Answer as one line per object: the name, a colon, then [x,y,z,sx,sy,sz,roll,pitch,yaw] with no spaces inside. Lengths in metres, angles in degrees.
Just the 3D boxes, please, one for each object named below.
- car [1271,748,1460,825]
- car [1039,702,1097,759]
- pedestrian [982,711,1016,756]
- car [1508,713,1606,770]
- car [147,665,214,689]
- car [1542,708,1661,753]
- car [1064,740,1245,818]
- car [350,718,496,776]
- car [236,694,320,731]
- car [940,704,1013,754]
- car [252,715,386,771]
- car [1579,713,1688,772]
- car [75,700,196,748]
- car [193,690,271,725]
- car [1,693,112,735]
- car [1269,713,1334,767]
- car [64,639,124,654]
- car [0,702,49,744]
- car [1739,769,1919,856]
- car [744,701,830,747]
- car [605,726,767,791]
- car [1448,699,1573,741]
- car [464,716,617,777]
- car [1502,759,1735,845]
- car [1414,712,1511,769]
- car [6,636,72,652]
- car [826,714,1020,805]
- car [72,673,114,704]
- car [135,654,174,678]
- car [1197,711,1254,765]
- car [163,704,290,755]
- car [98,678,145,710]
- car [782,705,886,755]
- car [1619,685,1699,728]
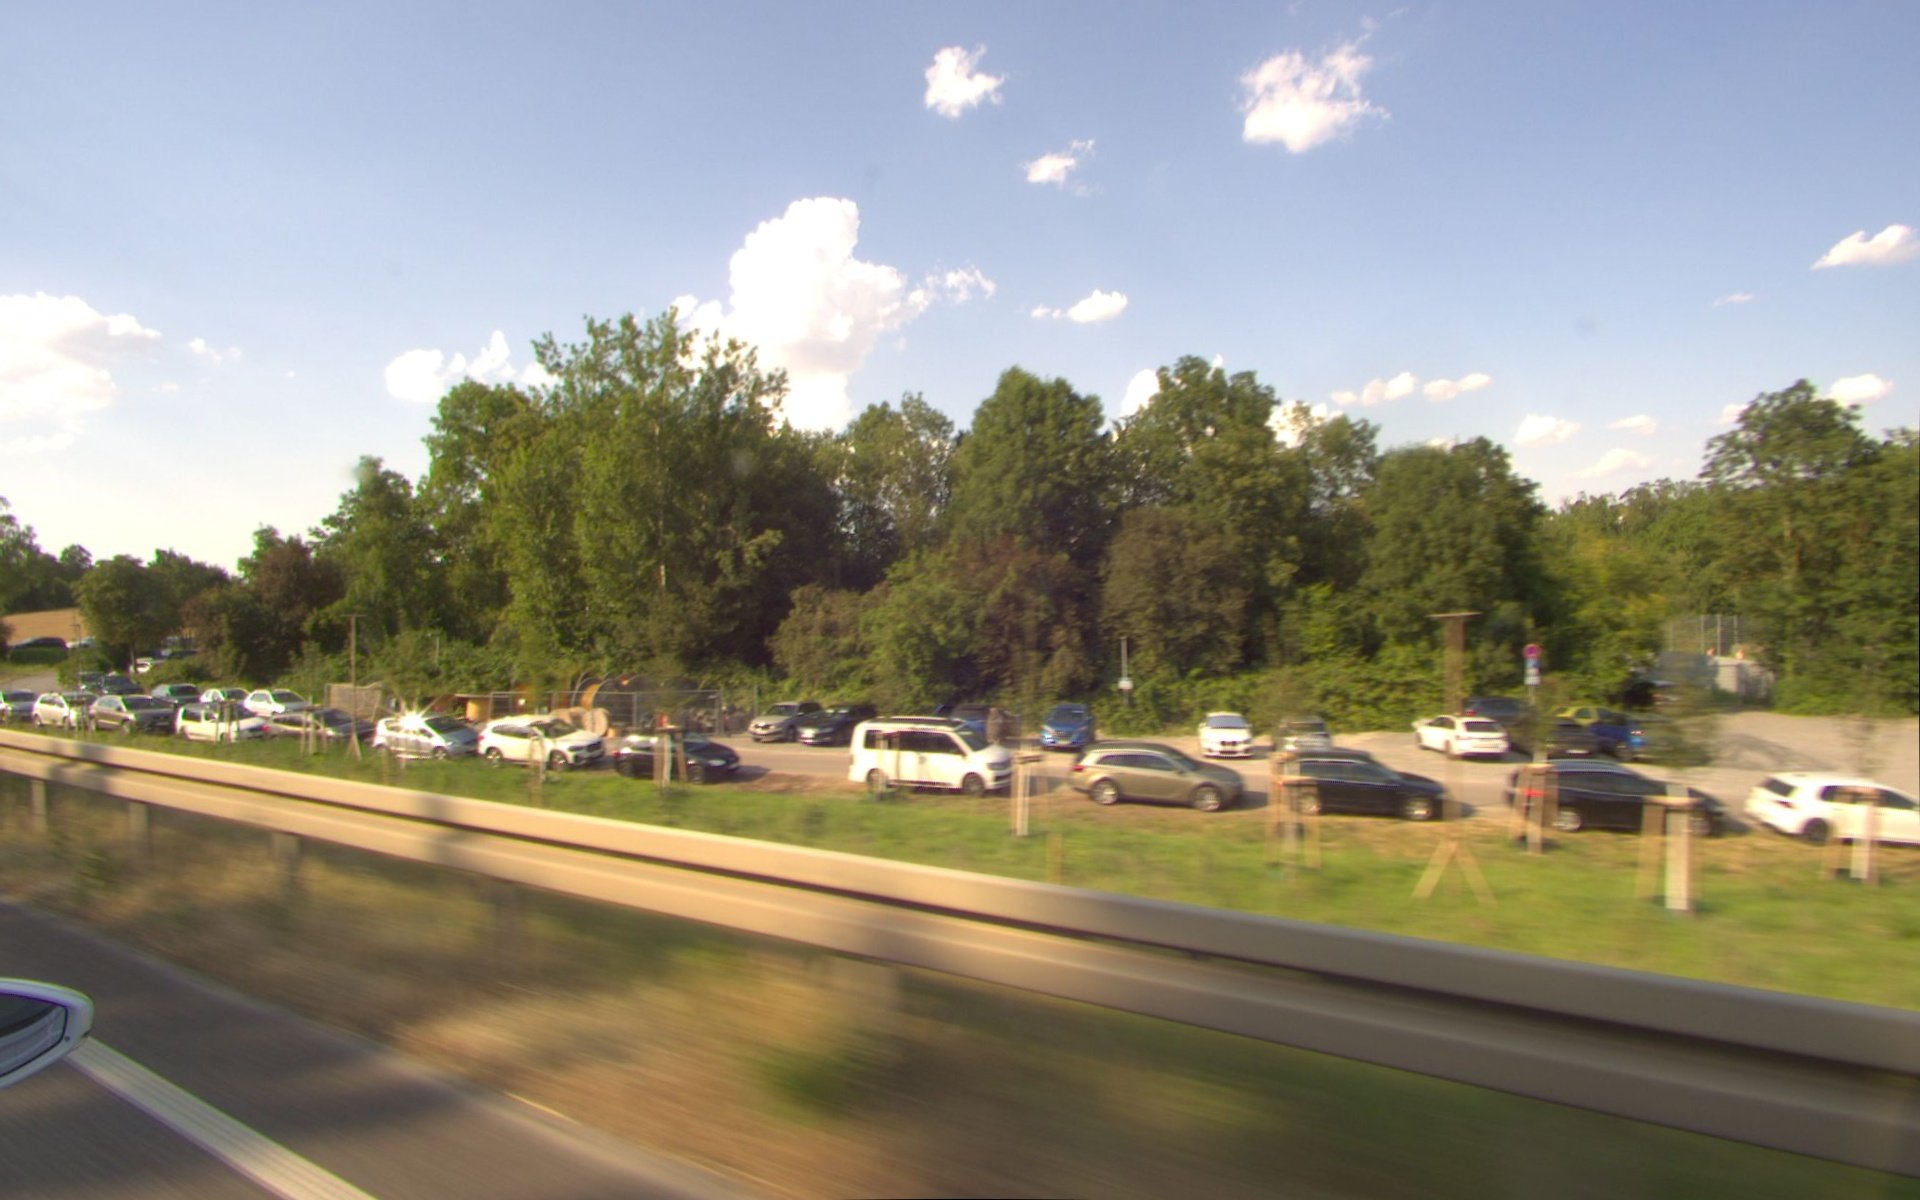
car: [10.421,4.797,26.050,4.313,1.502,1.822,0,1,13]
car: [4.196,4.953,38.424,1.799,1.764,4.246,0,-2,12]
pedestrian: [1.444,4.967,37.275,0.910,1.491,0.882,-1,2,-35]
car: [20.813,4.901,35.091,1.587,1.474,4.246,0,-1,11]
car: [-56.741,5.600,72.934,3.740,1.563,1.639,1,-2,-44]
car: [24.922,5.065,39.004,3.604,1.475,1.499,0,0,6]
car: [5.364,4.845,27.491,4.696,1.503,1.894,0,2,17]
car: [-19.401,5.260,36.218,4.696,1.581,1.894,0,2,17]
car: [-32.974,5.398,48.403,3.883,1.529,1.700,-1,-1,28]
car: [0.712,5.049,39.664,1.800,1.624,4.244,-1,-3,16]
car: [-24.720,5.469,38.624,4.699,1.581,1.893,0,2,20]
car: [23.382,4.904,34.954,1.587,1.475,4.245,0,-1,11]
car: [-35.765,5.344,43.456,4.699,1.581,1.893,0,2,20]
car: [-36.637,5.400,50.401,3.886,1.417,1.698,-1,1,30]
car: [-42.025,5.283,46.595,4.699,1.580,1.894,0,-1,20]
car: [12.107,4.928,35.722,1.587,1.474,4.247,0,-2,11]
car: [-90.030,4.825,104.152,1.961,1.526,4.646,0,-2,5]
car: [-46.538,5.892,48.272,4.699,1.581,1.893,0,2,20]
car: [20.625,4.821,22.788,4.177,1.502,1.822,0,1,13]
car: [-7.102,5.077,41.487,1.800,1.508,4.243,-1,-2,17]
car: [-8.697,4.982,31.881,4.696,1.503,1.894,0,2,17]
car: [22.544,4.924,41.116,4.164,1.475,1.617,0,0,6]
car: [-14.356,4.972,34.309,4.696,1.581,1.894,0,2,17]
car: [15.757,4.826,24.209,4.313,1.502,1.822,0,1,13]
car: [17.695,4.925,35.469,1.701,1.474,4.416,0,-1,7]
car: [-90.669,4.302,98.661,1.961,1.526,4.646,0,-2,5]
car: [-1.066,4.609,29.441,5.282,2.046,2.121,0,2,17]
car: [-54.066,5.485,62.405,1.689,1.418,4.058,-3,3,-44]
car: [-68.841,5.610,85.609,1.777,1.866,4.575,1,-2,-29]
car: [9.609,4.979,36.462,1.738,1.517,4.247,0,-2,12]
car: [-30.086,5.262,41.106,4.699,1.581,1.893,0,2,20]
car: [-49.217,5.474,58.752,1.689,1.417,4.737,-3,1,-44]
car: [-4.936,5.101,39.663,1.807,1.509,4.227,2,-1,32]
car: [33.944,5.139,48.754,1.587,1.476,4.242,0,1,11]
